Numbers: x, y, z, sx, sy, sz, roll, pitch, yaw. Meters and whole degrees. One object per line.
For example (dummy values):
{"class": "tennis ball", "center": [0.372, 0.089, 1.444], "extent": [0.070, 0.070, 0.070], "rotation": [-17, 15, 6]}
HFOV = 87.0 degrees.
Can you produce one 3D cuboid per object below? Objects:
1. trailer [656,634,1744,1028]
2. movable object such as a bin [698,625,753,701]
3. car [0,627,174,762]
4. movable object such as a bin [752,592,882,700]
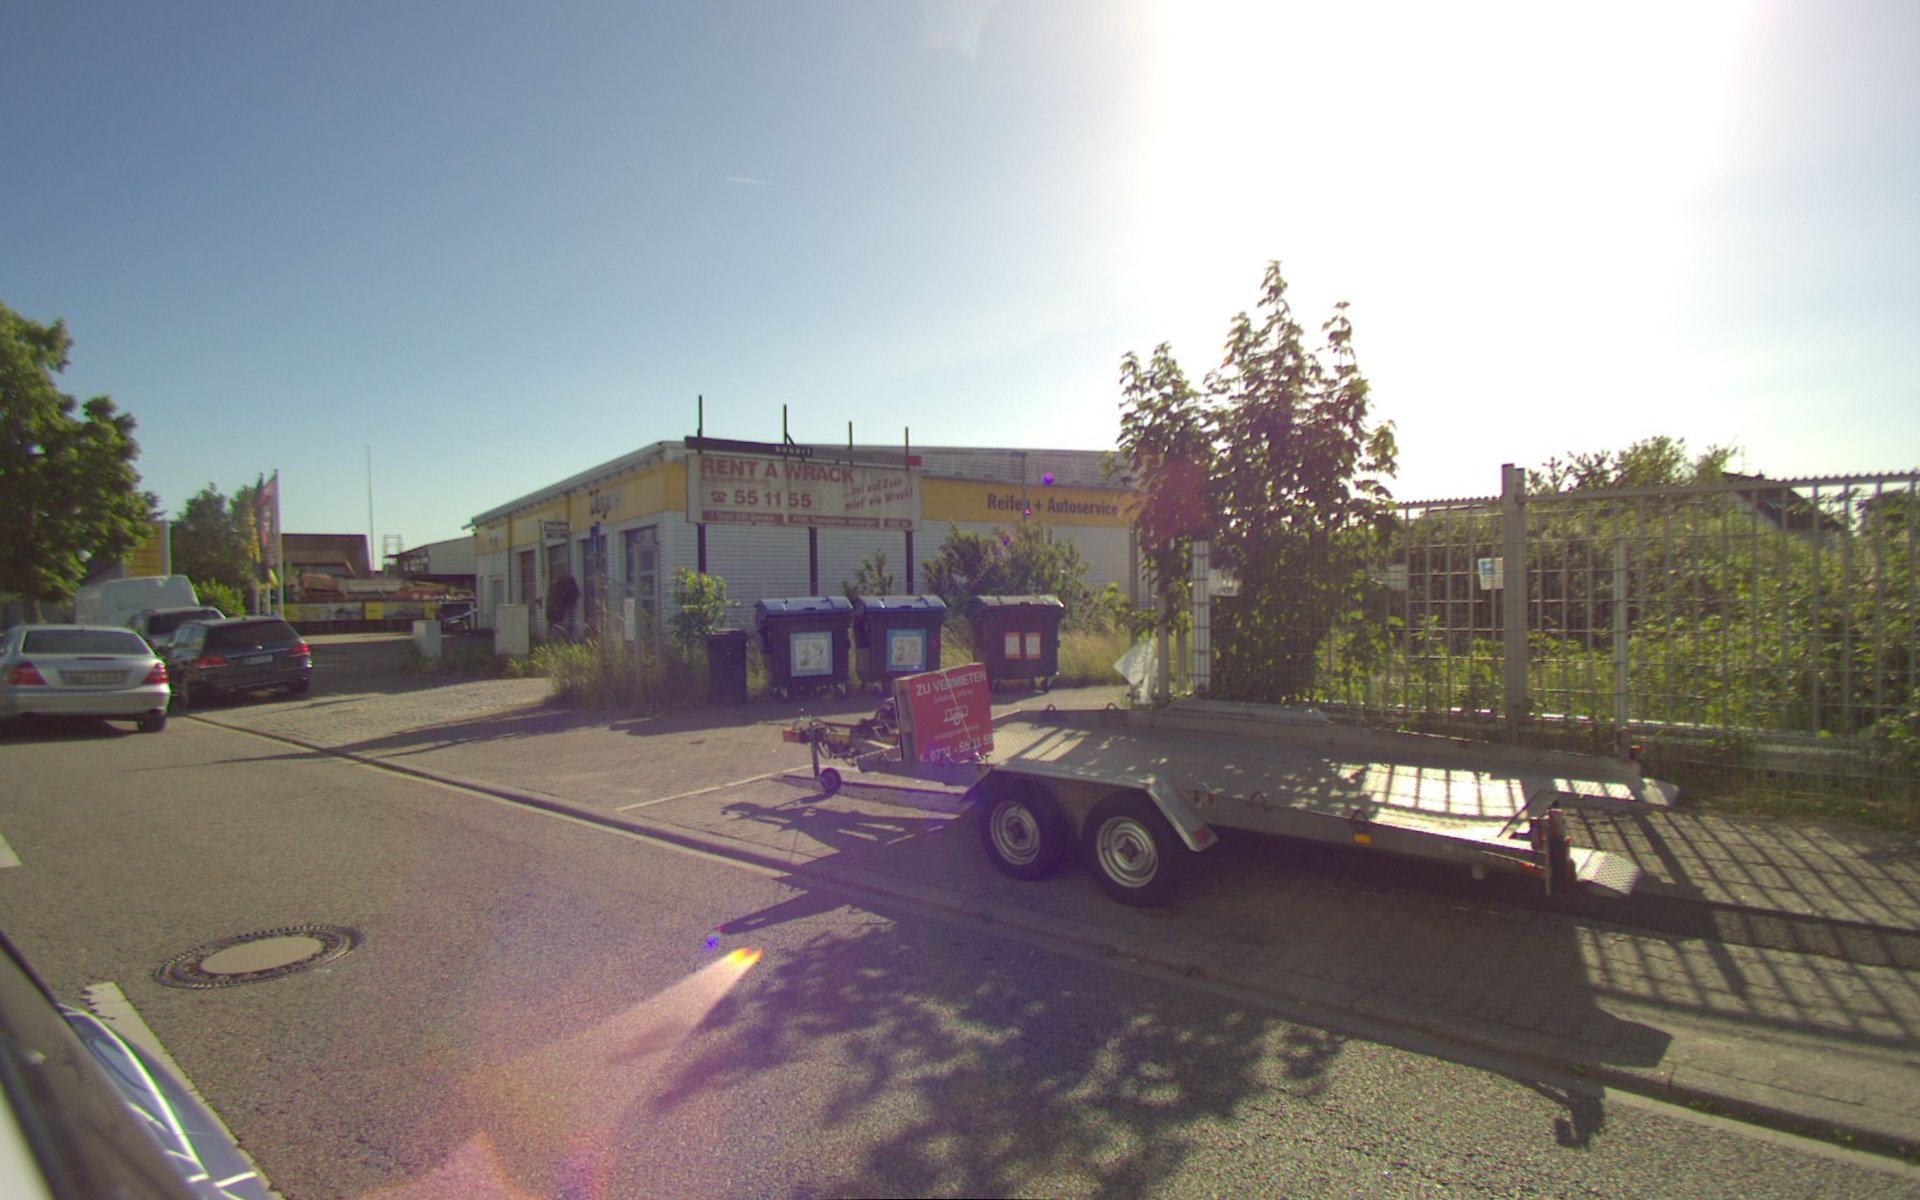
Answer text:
{"class": "trailer", "center": [0.897, 0.894, 6.348], "extent": [6.241, 1.088, 2.352], "rotation": [-2, 3, 41]}
{"class": "movable object such as a bin", "center": [-3.265, 0.855, 14.095], "extent": [0.606, 0.979, 0.752], "rotation": [0, 1, -25]}
{"class": "car", "center": [-12.261, 1.143, 13.724], "extent": [4.358, 1.458, 1.729], "rotation": [-1, 1, 41]}
{"class": "movable object such as a bin", "center": [-2.045, 0.613, 14.351], "extent": [1.596, 1.416, 1.099], "rotation": [-1, 0, -21]}
